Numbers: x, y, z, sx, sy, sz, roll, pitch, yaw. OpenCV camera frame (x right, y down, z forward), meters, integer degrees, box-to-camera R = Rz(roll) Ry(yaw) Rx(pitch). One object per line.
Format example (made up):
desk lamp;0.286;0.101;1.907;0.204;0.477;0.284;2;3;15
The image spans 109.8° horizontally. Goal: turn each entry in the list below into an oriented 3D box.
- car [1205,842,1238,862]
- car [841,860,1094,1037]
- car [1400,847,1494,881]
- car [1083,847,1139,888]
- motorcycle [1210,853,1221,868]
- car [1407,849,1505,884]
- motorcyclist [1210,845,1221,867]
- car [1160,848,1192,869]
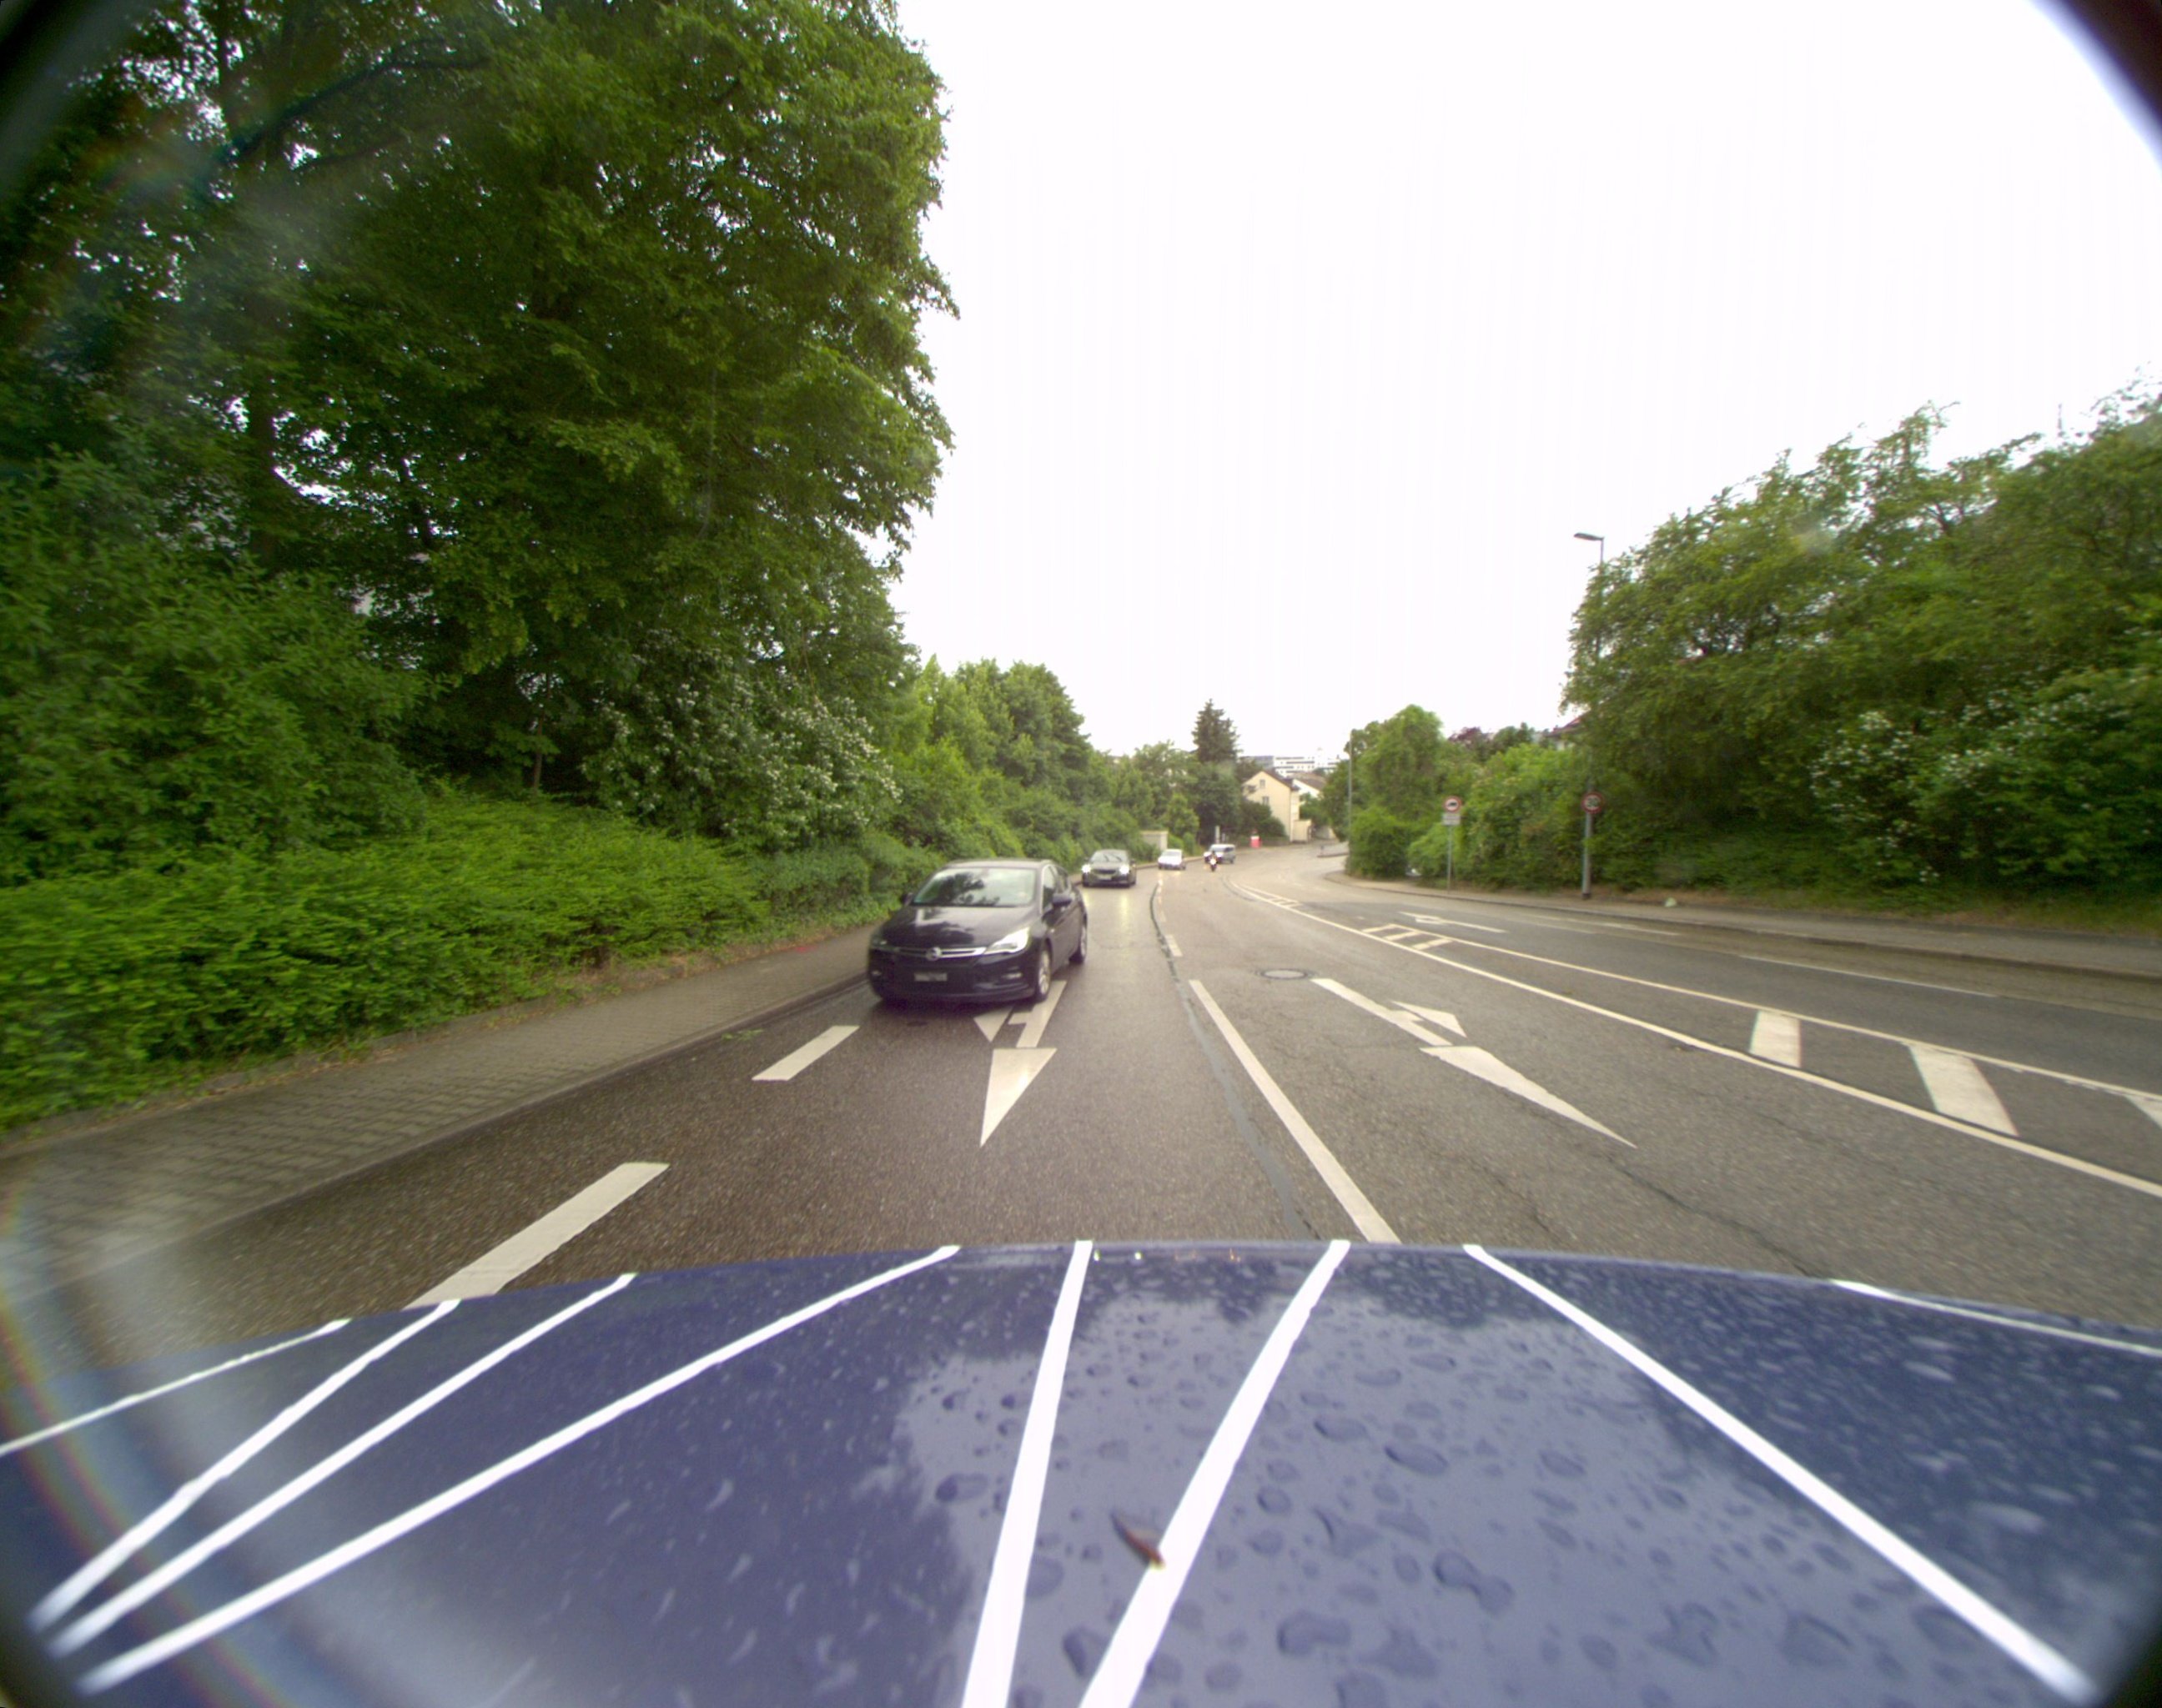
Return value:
car;13.813;-0.209;74.516;1.773;1.765;4.008;4;2;32
car;-1.026;0.870;9.006;1.815;1.434;4.164;2;1;8
car;19.367;0.517;40.327;3.995;1.527;2.001;-4;0;8
car;1.279;0.486;30.687;1.871;1.497;4.199;1;1;7
motorcycle;10.273;0.462;58.039;0.692;1.047;1.748;3;3;12
car;18.475;0.591;37.616;3.908;1.432;1.812;-4;0;9
motorcyclist;10.322;0.181;58.234;0.766;1.633;0.675;2;2;12
car;7.322;0.295;58.454;1.815;1.431;4.004;3;2;15
